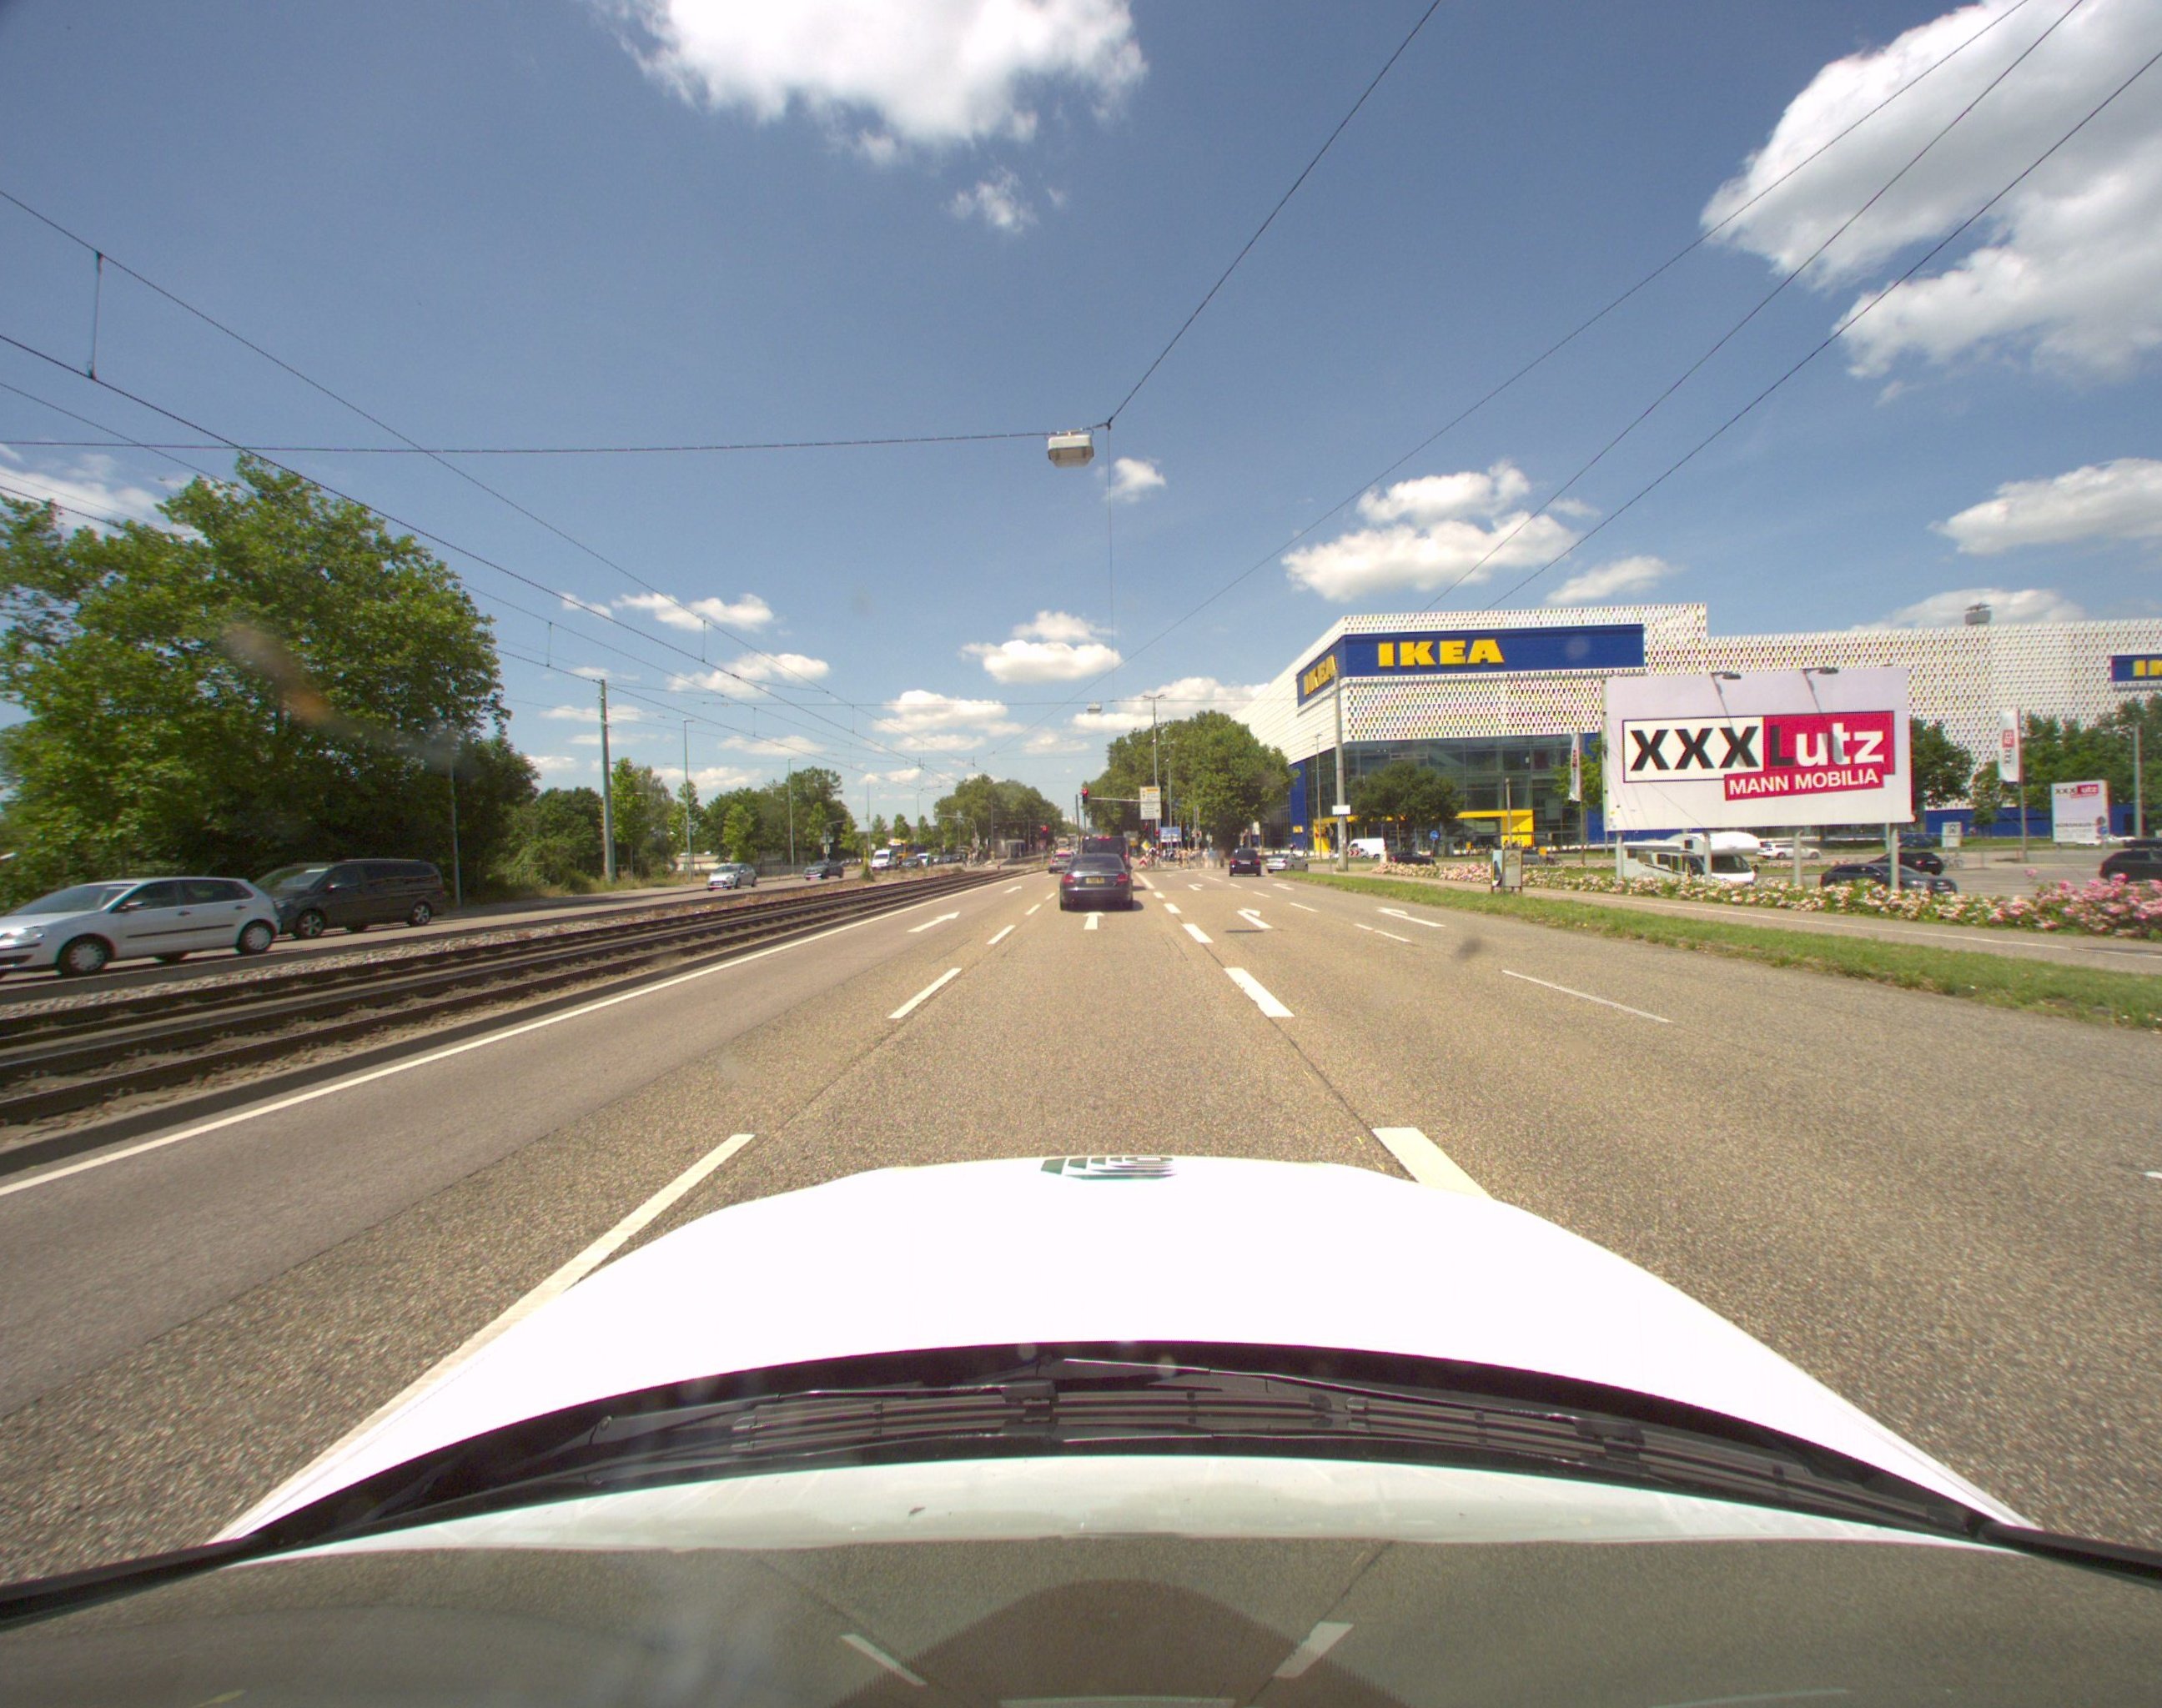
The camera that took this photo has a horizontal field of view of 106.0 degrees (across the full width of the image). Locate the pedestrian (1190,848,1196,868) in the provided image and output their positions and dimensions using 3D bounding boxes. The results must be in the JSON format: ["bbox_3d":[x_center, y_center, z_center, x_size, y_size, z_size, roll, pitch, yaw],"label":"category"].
[{"bbox_3d":[9.179,0.349,66.531,0.443,1.635,0.430,-1,0,4],"label":"pedestrian"}]

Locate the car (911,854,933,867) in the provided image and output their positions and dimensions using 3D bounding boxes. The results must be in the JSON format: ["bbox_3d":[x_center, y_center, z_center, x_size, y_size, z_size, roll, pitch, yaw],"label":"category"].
[{"bbox_3d":[-20.666,0.850,106.108,1.814,1.670,4.465,0,0,3],"label":"car"}]

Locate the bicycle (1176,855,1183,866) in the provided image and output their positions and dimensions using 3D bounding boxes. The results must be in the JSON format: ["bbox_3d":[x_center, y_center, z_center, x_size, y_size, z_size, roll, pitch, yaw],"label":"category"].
[{"bbox_3d":[8.326,0.563,68.686,0.547,0.877,1.700,-1,0,5],"label":"bicycle"}]

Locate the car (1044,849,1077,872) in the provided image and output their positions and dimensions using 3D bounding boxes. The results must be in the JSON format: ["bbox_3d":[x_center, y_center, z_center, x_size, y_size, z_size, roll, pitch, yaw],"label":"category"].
[{"bbox_3d":[-1.339,0.402,54.396,1.986,1.486,4.002,0,1,2],"label":"car"}]

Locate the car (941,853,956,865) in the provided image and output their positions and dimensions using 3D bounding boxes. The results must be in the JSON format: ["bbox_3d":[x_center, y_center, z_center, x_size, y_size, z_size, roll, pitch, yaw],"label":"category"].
[{"bbox_3d":[-22.286,0.823,136.871,1.811,1.883,4.002,-1,0,2],"label":"car"}]

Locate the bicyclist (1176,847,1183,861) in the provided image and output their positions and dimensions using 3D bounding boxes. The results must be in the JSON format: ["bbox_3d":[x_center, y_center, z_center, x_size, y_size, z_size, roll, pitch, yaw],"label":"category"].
[{"bbox_3d":[8.304,-0.019,68.678,0.468,1.193,0.792,-1,0,4],"label":"bicyclist"}]

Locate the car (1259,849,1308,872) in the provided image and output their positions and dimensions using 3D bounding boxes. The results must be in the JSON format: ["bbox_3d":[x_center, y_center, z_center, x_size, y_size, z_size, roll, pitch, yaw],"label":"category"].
[{"bbox_3d":[14.001,0.414,56.079,1.974,1.486,4.193,1,1,33],"label":"car"}]

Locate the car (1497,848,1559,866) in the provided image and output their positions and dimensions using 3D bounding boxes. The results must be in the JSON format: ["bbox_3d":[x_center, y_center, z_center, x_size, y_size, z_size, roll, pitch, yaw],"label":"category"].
[{"bbox_3d":[37.438,0.253,68.244,4.116,1.486,2.001,0,0,2],"label":"car"}]

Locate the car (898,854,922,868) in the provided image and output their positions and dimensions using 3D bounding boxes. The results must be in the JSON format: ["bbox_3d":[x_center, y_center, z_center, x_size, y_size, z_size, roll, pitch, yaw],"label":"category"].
[{"bbox_3d":[-20.648,0.859,98.738,1.815,1.670,4.463,0,0,2],"label":"car"}]

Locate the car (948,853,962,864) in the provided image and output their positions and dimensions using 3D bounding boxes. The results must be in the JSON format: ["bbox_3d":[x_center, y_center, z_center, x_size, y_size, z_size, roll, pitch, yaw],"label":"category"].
[{"bbox_3d":[-22.022,0.824,142.499,1.811,1.883,4.002,-1,0,2],"label":"car"}]

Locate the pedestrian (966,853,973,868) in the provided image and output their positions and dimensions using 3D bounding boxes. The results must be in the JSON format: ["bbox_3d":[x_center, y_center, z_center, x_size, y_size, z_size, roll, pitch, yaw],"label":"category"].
[{"bbox_3d":[-12.350,0.673,90.269,0.683,1.637,0.572,-1,0,-2],"label":"pedestrian"}]

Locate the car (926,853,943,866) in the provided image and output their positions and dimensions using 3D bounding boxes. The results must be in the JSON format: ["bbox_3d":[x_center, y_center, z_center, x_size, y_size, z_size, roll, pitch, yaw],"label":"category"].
[{"bbox_3d":[-22.832,0.828,127.229,1.811,1.883,4.002,-1,0,2],"label":"car"}]

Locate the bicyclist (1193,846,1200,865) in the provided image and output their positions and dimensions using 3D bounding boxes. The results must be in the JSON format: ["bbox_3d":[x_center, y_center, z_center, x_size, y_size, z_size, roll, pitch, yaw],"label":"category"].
[{"bbox_3d":[11.166,0.137,78.640,0.525,1.764,0.831,-1,0,15],"label":"bicyclist"}]

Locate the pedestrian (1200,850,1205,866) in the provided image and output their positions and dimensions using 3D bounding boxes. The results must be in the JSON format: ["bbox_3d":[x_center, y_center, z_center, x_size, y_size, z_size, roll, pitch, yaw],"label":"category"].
[{"bbox_3d":[9.960,0.344,66.619,0.371,1.303,0.365,-1,0,4],"label":"pedestrian"}]

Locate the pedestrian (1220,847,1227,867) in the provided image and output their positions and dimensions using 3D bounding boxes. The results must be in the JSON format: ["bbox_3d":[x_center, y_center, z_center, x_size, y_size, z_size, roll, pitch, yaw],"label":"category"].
[{"bbox_3d":[12.032,0.256,68.603,0.518,1.670,0.495,-1,0,4],"label":"pedestrian"}]

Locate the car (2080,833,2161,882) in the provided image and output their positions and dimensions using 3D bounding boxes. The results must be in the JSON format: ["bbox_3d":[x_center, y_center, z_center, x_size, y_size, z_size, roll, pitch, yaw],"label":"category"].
[{"bbox_3d":[47.769,0.137,35.692,1.986,2.134,5.003,-1,0,2],"label":"car"}]

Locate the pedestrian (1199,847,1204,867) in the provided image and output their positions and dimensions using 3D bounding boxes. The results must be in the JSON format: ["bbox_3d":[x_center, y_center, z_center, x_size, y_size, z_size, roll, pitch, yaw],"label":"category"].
[{"bbox_3d":[10.173,0.241,68.677,0.337,1.635,0.377,-1,0,5],"label":"pedestrian"}]

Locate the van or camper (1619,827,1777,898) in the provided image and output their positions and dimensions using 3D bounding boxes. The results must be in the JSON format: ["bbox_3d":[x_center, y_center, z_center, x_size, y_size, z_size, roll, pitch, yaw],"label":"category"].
[{"bbox_3d":[28.612,0.352,38.242,2.494,3.020,7.235,-1,0,6],"label":"van or camper"}]

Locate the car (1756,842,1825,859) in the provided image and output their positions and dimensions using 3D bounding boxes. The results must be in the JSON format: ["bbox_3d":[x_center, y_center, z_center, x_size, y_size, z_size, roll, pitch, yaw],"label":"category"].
[{"bbox_3d":[62.658,-0.291,71.968,4.361,1.486,2.000,0,0,0],"label":"car"}]

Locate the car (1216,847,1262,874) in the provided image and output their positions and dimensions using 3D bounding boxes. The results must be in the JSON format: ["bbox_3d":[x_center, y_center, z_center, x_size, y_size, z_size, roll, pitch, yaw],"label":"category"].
[{"bbox_3d":[8.932,0.340,46.247,1.986,1.486,4.002,0,1,2],"label":"car"}]

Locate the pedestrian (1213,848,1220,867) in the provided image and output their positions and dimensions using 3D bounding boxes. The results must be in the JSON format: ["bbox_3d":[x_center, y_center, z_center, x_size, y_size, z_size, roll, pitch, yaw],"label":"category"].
[{"bbox_3d":[11.417,0.291,68.628,0.501,1.635,0.449,-1,0,4],"label":"pedestrian"}]

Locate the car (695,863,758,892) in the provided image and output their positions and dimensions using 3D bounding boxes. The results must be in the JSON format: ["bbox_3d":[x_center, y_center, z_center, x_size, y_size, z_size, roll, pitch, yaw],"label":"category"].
[{"bbox_3d":[-19.973,1.308,46.008,1.817,1.416,3.882,-4,0,-1],"label":"car"}]

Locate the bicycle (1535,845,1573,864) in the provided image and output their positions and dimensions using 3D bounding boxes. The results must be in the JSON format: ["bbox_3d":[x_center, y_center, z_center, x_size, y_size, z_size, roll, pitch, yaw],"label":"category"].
[{"bbox_3d":[37.503,0.007,64.573,2.410,1.481,0.990,-1,0,6],"label":"bicycle"}]

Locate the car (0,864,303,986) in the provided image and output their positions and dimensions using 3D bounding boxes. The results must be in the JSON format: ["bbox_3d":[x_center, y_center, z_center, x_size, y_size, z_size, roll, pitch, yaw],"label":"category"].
[{"bbox_3d":[-15.483,1.045,13.211,1.680,1.583,4.058,-4,0,0],"label":"car"}]

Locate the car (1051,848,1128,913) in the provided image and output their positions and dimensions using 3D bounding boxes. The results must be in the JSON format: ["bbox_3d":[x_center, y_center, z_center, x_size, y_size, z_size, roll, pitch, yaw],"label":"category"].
[{"bbox_3d":[0.286,0.619,21.461,1.786,1.455,4.002,-2,0,2],"label":"car"}]

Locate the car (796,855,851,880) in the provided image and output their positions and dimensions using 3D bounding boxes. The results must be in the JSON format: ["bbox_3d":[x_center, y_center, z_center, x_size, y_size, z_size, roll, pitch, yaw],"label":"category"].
[{"bbox_3d":[-20.337,1.035,64.525,1.978,1.918,4.430,0,1,17],"label":"car"}]

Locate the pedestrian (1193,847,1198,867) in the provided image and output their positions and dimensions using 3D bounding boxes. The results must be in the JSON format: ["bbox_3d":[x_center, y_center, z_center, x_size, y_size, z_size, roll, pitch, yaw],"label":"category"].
[{"bbox_3d":[9.701,0.265,68.746,0.379,1.635,0.377,-1,0,4],"label":"pedestrian"}]

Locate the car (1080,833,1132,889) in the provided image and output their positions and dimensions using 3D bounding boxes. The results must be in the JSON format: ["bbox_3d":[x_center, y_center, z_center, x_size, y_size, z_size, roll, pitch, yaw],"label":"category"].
[{"bbox_3d":[0.957,0.257,31.078,1.830,1.950,4.001,-1,0,2],"label":"car"}]

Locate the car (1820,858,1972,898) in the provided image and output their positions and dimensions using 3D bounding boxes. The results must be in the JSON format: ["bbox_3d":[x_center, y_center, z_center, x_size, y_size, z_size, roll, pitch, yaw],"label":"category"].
[{"bbox_3d":[35.411,0.988,35.606,1.986,1.537,4.772,-2,0,2],"label":"car"}]

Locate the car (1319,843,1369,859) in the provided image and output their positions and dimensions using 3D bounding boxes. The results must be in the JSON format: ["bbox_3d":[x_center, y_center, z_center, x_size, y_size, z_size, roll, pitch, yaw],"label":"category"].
[{"bbox_3d":[26.110,-0.322,81.006,4.475,1.486,2.003,0,0,5],"label":"car"}]

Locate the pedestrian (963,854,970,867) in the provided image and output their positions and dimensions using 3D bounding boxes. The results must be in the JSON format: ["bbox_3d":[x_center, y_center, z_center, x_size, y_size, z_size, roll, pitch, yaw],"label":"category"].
[{"bbox_3d":[-12.819,0.744,91.083,0.683,1.443,0.572,-1,0,-2],"label":"pedestrian"}]

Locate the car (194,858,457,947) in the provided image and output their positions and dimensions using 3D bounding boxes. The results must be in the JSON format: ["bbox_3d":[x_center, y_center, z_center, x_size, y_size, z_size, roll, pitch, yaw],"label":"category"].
[{"bbox_3d":[-19.019,1.113,20.928,1.987,1.830,4.969,-4,0,0],"label":"car"}]

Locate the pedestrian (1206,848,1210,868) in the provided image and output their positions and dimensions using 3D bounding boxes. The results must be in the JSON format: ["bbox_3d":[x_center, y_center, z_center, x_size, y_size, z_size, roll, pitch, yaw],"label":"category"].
[{"bbox_3d":[10.363,0.293,66.514,0.319,1.635,0.377,-1,0,5],"label":"pedestrian"}]

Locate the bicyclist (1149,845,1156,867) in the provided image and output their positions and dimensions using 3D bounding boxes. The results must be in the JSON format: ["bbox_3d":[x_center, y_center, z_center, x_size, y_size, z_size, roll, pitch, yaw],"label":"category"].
[{"bbox_3d":[5.900,0.194,66.979,0.526,1.789,1.089,-1,0,2],"label":"bicyclist"}]

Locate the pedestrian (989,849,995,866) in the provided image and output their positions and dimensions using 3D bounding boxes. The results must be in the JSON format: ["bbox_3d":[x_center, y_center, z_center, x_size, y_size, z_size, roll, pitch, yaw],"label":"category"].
[{"bbox_3d":[-10.758,0.461,98.745,0.683,2.013,0.572,-1,0,-3],"label":"pedestrian"}]

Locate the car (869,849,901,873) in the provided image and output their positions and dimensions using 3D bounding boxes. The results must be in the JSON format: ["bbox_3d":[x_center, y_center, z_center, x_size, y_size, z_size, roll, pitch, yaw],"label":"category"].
[{"bbox_3d":[-23.794,0.819,99.082,2.235,2.588,6.236,-4,1,1],"label":"car"}]

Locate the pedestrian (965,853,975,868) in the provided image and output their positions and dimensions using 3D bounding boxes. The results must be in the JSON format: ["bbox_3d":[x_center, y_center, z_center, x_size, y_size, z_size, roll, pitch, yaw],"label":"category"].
[{"bbox_3d":[-12.777,0.795,93.951,0.816,1.720,0.779,-1,0,24],"label":"pedestrian"}]

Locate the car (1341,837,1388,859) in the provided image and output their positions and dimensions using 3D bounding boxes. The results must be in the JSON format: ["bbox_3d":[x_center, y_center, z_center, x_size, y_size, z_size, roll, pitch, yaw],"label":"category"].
[{"bbox_3d":[30.788,-0.676,88.440,4.721,2.309,2.009,-1,0,18],"label":"car"}]

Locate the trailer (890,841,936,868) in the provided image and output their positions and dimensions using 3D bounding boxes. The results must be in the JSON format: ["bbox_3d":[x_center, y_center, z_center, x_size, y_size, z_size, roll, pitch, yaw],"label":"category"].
[{"bbox_3d":[-23.629,-0.015,115.729,2.757,3.518,15.884,-1,0,2],"label":"trailer"}]

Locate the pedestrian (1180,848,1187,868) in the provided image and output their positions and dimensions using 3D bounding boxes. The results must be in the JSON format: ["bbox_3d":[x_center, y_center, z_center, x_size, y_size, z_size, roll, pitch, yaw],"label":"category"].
[{"bbox_3d":[8.399,0.317,66.611,0.551,1.635,0.433,-1,0,4],"label":"pedestrian"}]

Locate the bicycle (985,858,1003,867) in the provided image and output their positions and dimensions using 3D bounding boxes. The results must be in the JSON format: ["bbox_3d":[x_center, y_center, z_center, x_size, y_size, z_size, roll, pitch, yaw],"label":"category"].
[{"bbox_3d":[-9.705,0.980,90.784,2.055,0.925,0.751,-1,0,-8],"label":"bicycle"}]

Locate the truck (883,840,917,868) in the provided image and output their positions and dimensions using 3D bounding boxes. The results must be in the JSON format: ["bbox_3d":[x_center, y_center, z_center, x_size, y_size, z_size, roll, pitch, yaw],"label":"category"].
[{"bbox_3d":[-23.869,0.012,107.745,2.757,3.569,6.442,-1,0,2],"label":"truck"}]

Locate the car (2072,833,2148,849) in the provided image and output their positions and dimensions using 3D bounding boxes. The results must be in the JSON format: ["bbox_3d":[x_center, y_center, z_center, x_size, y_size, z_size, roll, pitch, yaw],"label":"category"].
[{"bbox_3d":[98.267,-1.228,77.818,4.475,1.486,2.003,0,0,5],"label":"car"}]

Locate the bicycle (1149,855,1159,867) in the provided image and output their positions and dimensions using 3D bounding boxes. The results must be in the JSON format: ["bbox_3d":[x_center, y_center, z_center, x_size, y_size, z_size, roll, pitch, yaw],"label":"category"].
[{"bbox_3d":[5.996,0.578,67.332,0.685,0.993,2.753,-1,0,2],"label":"bicycle"}]
